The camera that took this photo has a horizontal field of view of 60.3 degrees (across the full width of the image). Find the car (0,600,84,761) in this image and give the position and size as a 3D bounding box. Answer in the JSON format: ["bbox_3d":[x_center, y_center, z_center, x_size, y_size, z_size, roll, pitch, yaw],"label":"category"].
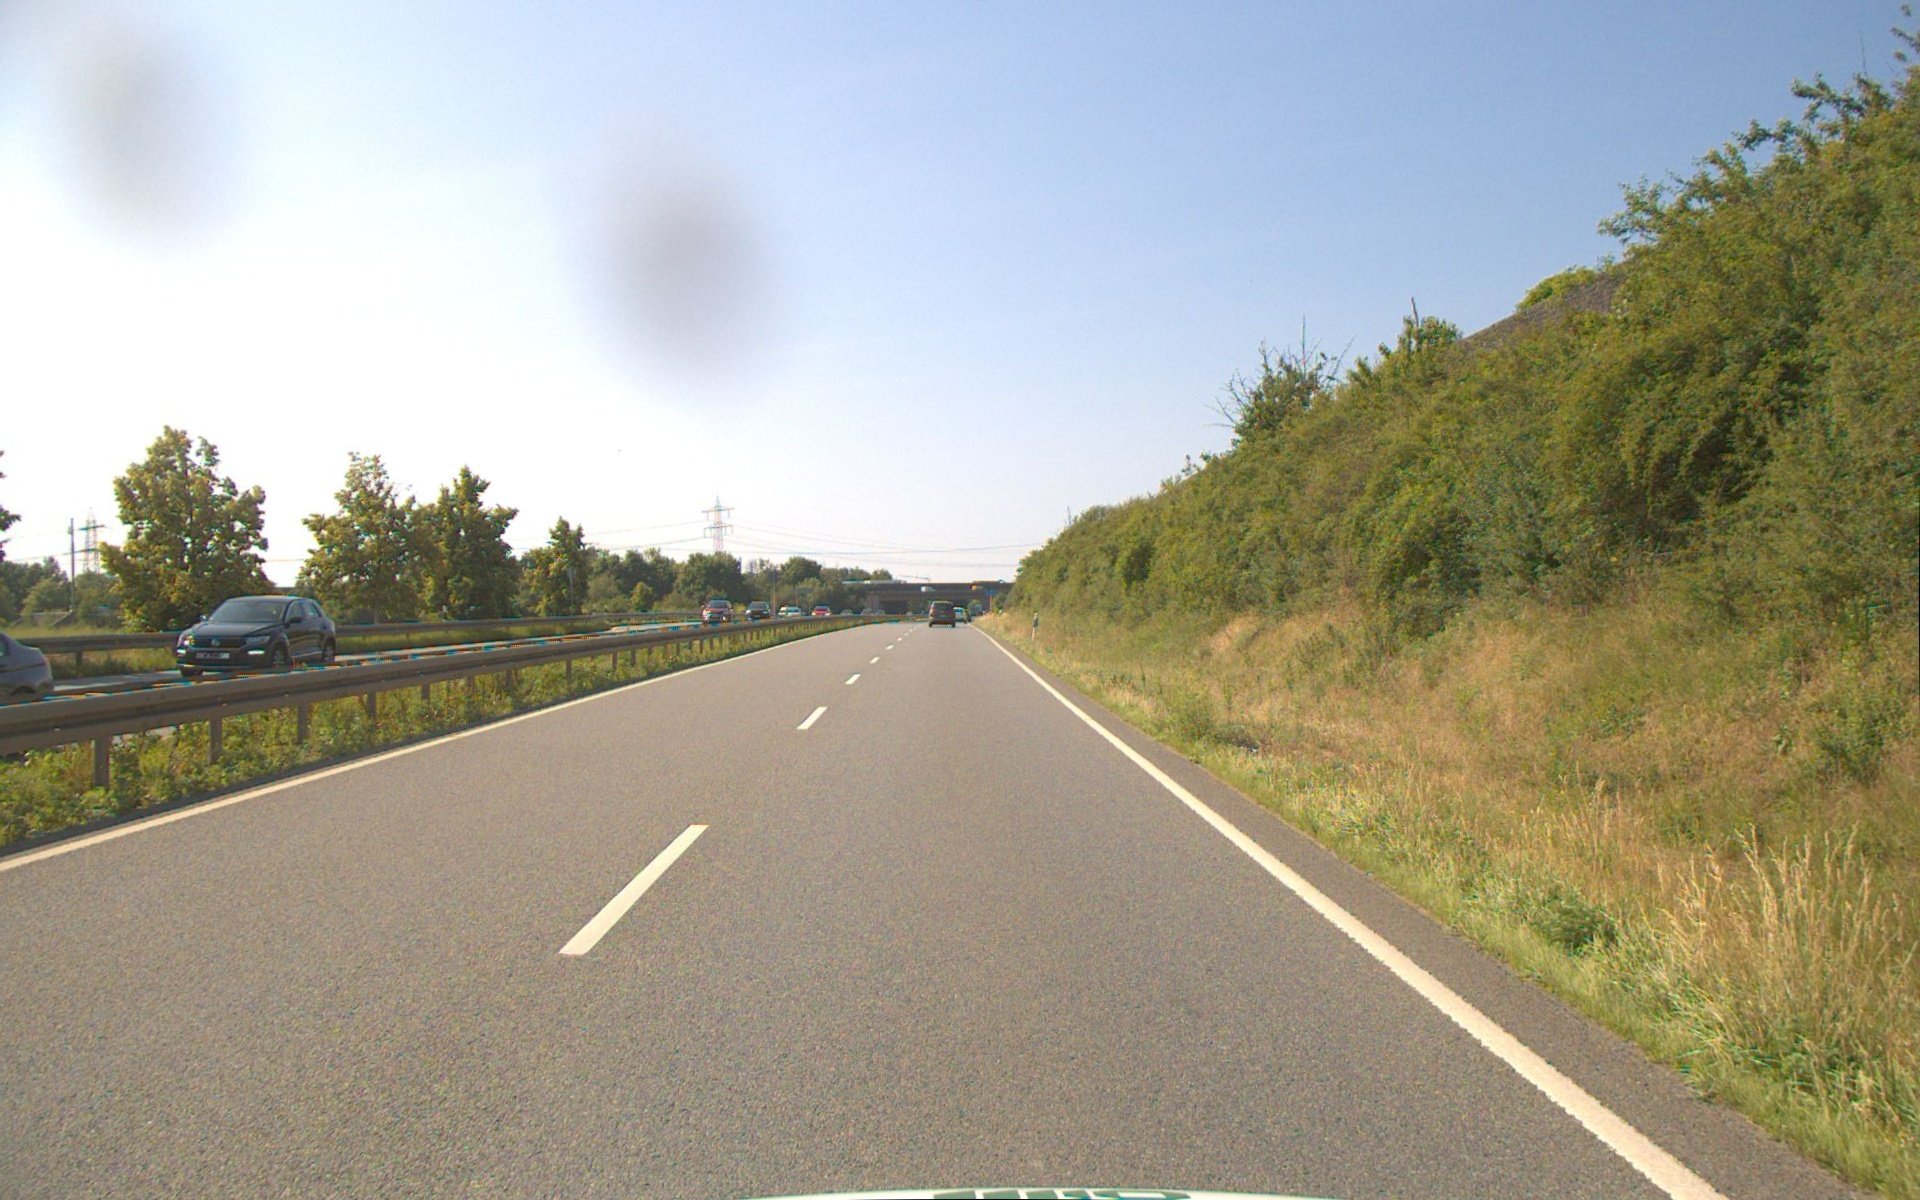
[{"bbox_3d":[-10.233,0.787,15.375,1.775,1.569,4.453,0,0,0],"label":"car"}]

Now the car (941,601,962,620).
[{"bbox_3d":[-0.799,0.953,155.523,1.759,1.694,4.001,2,0,2],"label":"car"}]

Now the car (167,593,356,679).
[{"bbox_3d":[-13.609,0.658,32.517,1.775,1.569,4.454,0,0,0],"label":"car"}]

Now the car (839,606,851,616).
[{"bbox_3d":[-17.249,1.592,248.002,1.678,1.476,4.321,0,0,-2],"label":"car"}]

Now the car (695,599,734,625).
[{"bbox_3d":[-16.079,0.800,108.442,1.806,1.621,4.773,1,0,0],"label":"car"}]

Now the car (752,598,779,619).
[{"bbox_3d":[-15.475,0.677,131.555,1.691,1.623,4.220,1,0,-1],"label":"car"}]

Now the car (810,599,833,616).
[{"bbox_3d":[-13.316,0.725,159.444,1.838,1.519,5.094,1,0,-1],"label":"car"}]

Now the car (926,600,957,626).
[{"bbox_3d":[-1.192,0.839,108.018,1.811,1.673,4.001,0,-1,2],"label":"car"}]

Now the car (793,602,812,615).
[{"bbox_3d":[-17.889,0.954,187.954,1.784,1.420,4.415,2,0,0],"label":"car"}]
